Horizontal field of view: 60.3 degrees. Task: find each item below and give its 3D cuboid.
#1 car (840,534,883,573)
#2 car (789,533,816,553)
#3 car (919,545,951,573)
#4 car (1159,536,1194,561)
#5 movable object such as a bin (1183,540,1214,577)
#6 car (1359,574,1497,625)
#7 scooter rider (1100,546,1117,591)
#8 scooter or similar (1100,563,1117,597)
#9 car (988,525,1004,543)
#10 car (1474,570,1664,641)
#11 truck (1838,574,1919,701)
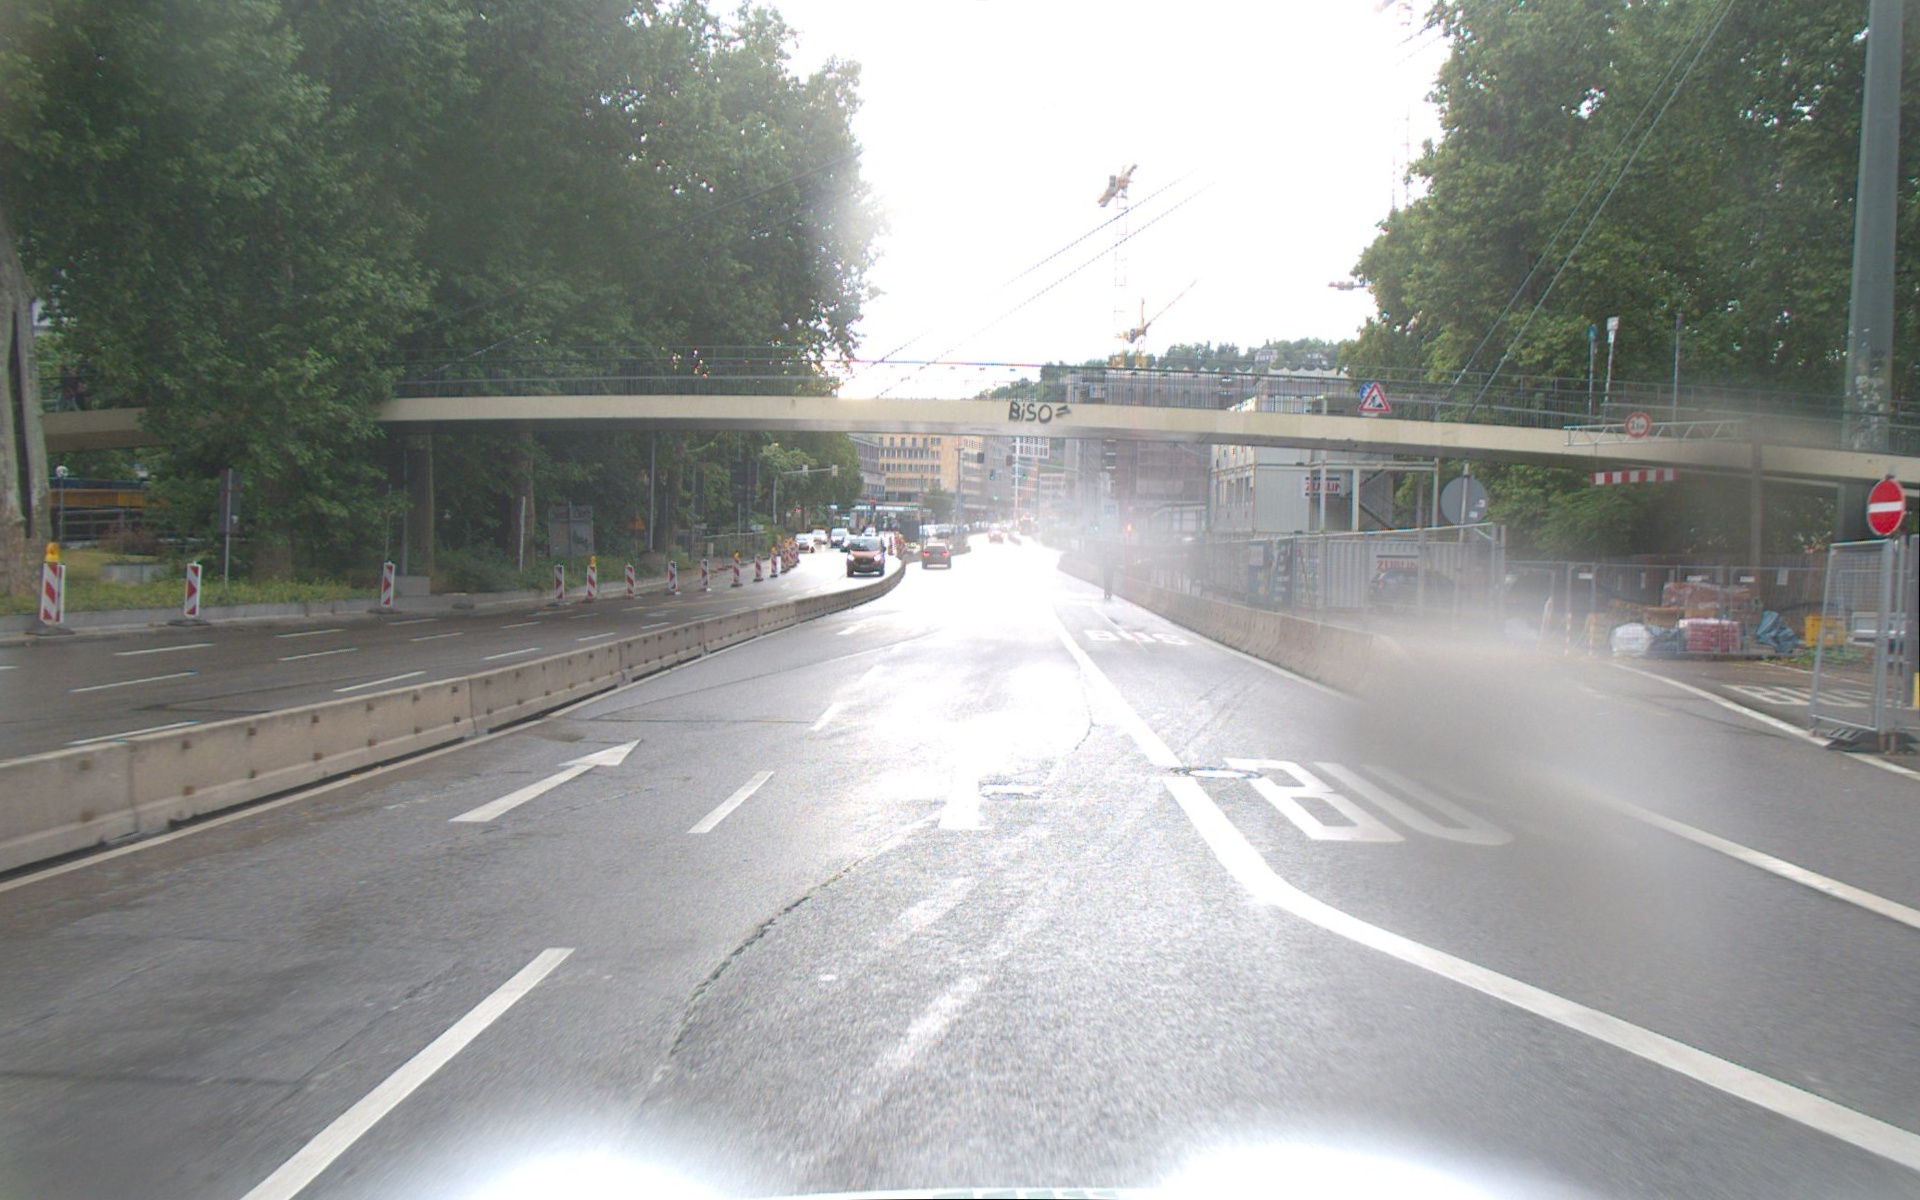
[{"bbox_3d":[-5.365,-2.495,89.449,1.992,1.970,5.036,-1,0,-7],"label":"car"},{"bbox_3d":[-13.632,-4.921,143.180,1.994,1.682,4.309,0,3,-10],"label":"car"},{"bbox_3d":[-1.575,-2.502,101.133,1.863,1.554,4.176,-1,0,-2],"label":"car"},{"bbox_3d":[18.445,-4.385,141.094,1.874,2.009,5.159,1,2,-5],"label":"car"},{"bbox_3d":[14.974,-2.580,103.725,1.436,2.241,1.257,0,3,-23],"label":"movable object such as a bin"},{"bbox_3d":[16.821,-0.023,59.567,4.450,1.657,1.788,1,2,-1],"label":"car"},{"bbox_3d":[6.071,-1.307,67.717,0.585,1.816,0.998,2,2,3],"label":"scooter rider"},{"bbox_3d":[6.067,-0.831,67.750,0.585,1.342,1.668,2,2,3],"label":"scooter or similar"},{"bbox_3d":[4.516,-8.152,205.624,1.952,2.049,4.001,-1,0,2],"label":"car"},{"bbox_3d":[16.539,0.137,45.061,4.410,1.758,1.999,1,1,-4],"label":"car"},{"bbox_3d":[17.838,0.643,27.723,5.054,2.049,2.406,1,0,-6],"label":"truck"}]
